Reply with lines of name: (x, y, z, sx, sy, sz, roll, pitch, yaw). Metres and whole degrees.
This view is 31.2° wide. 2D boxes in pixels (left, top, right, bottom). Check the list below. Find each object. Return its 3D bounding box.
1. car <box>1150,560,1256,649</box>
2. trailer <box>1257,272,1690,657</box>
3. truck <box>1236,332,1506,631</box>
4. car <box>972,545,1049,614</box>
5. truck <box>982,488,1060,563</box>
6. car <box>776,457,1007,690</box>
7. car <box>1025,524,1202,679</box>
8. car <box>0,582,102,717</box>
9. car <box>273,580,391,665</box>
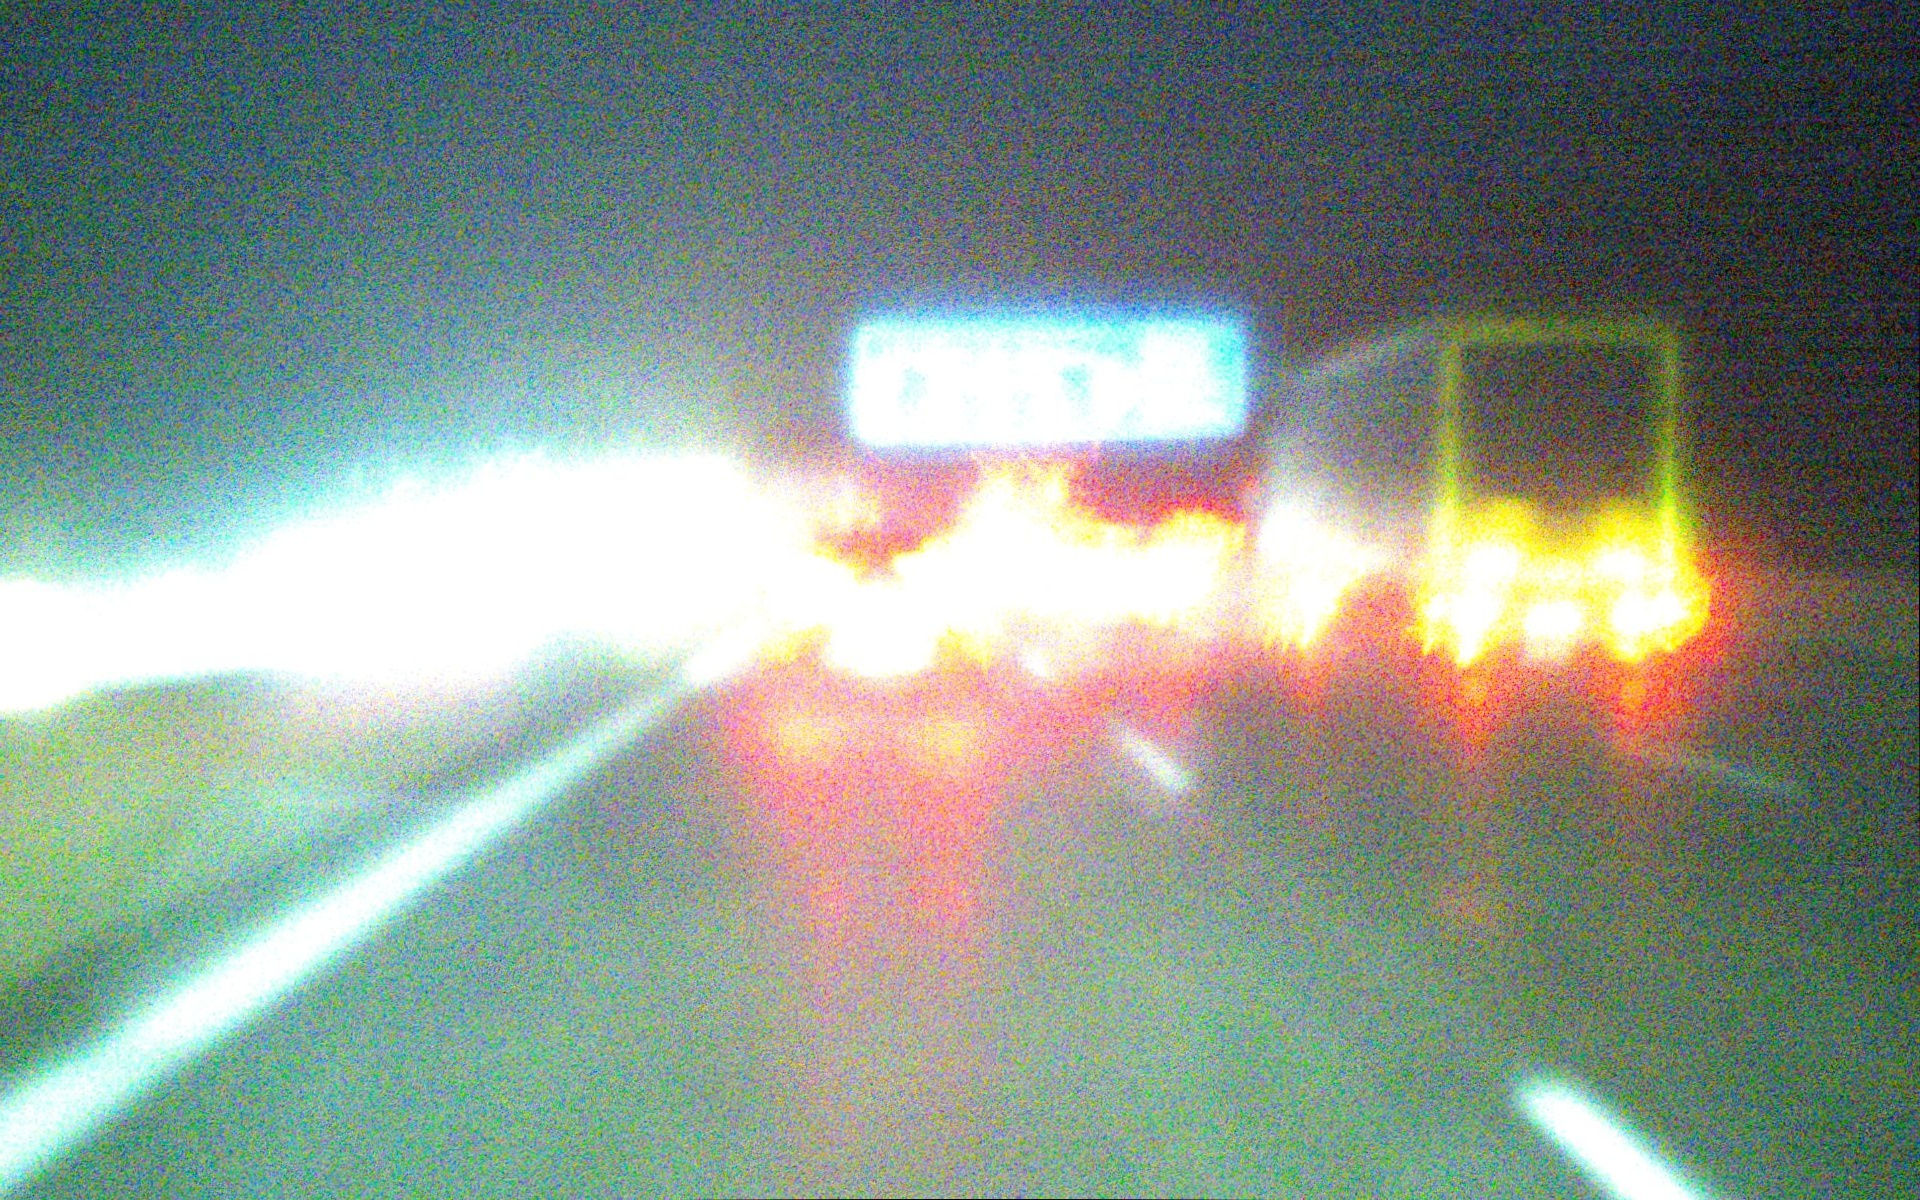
car: (5.816, 0.077, 82.708, 1.993, 2.007, 4.001, -2, 1, -3)
trailer: (6.205, -1.589, 44.403, 3.041, 4.094, 13.830, -2, 1, -2)
truck: (5.998, -1.705, 51.093, 3.041, 4.094, 5.799, -2, 1, -1)
car: (1.529, -0.657, 105.419, 1.993, 2.007, 4.001, -2, 1, -3)
truck: (2.789, -3.449, 160.426, 3.037, 3.286, 11.382, -2, 1, -2)
car: (-0.641, -0.259, 31.994, 1.993, 2.007, 4.000, 1, 1, -1)
car: (2.097, -0.015, 48.101, 1.993, 2.007, 4.001, -2, 1, -3)
car: (-14.005, 0.692, 50.534, 1.993, 1.754, 4.001, 1, 2, -3)
car: (-14.807, 0.493, 81.254, 1.993, 1.754, 4.960, 1, 2, -2)
